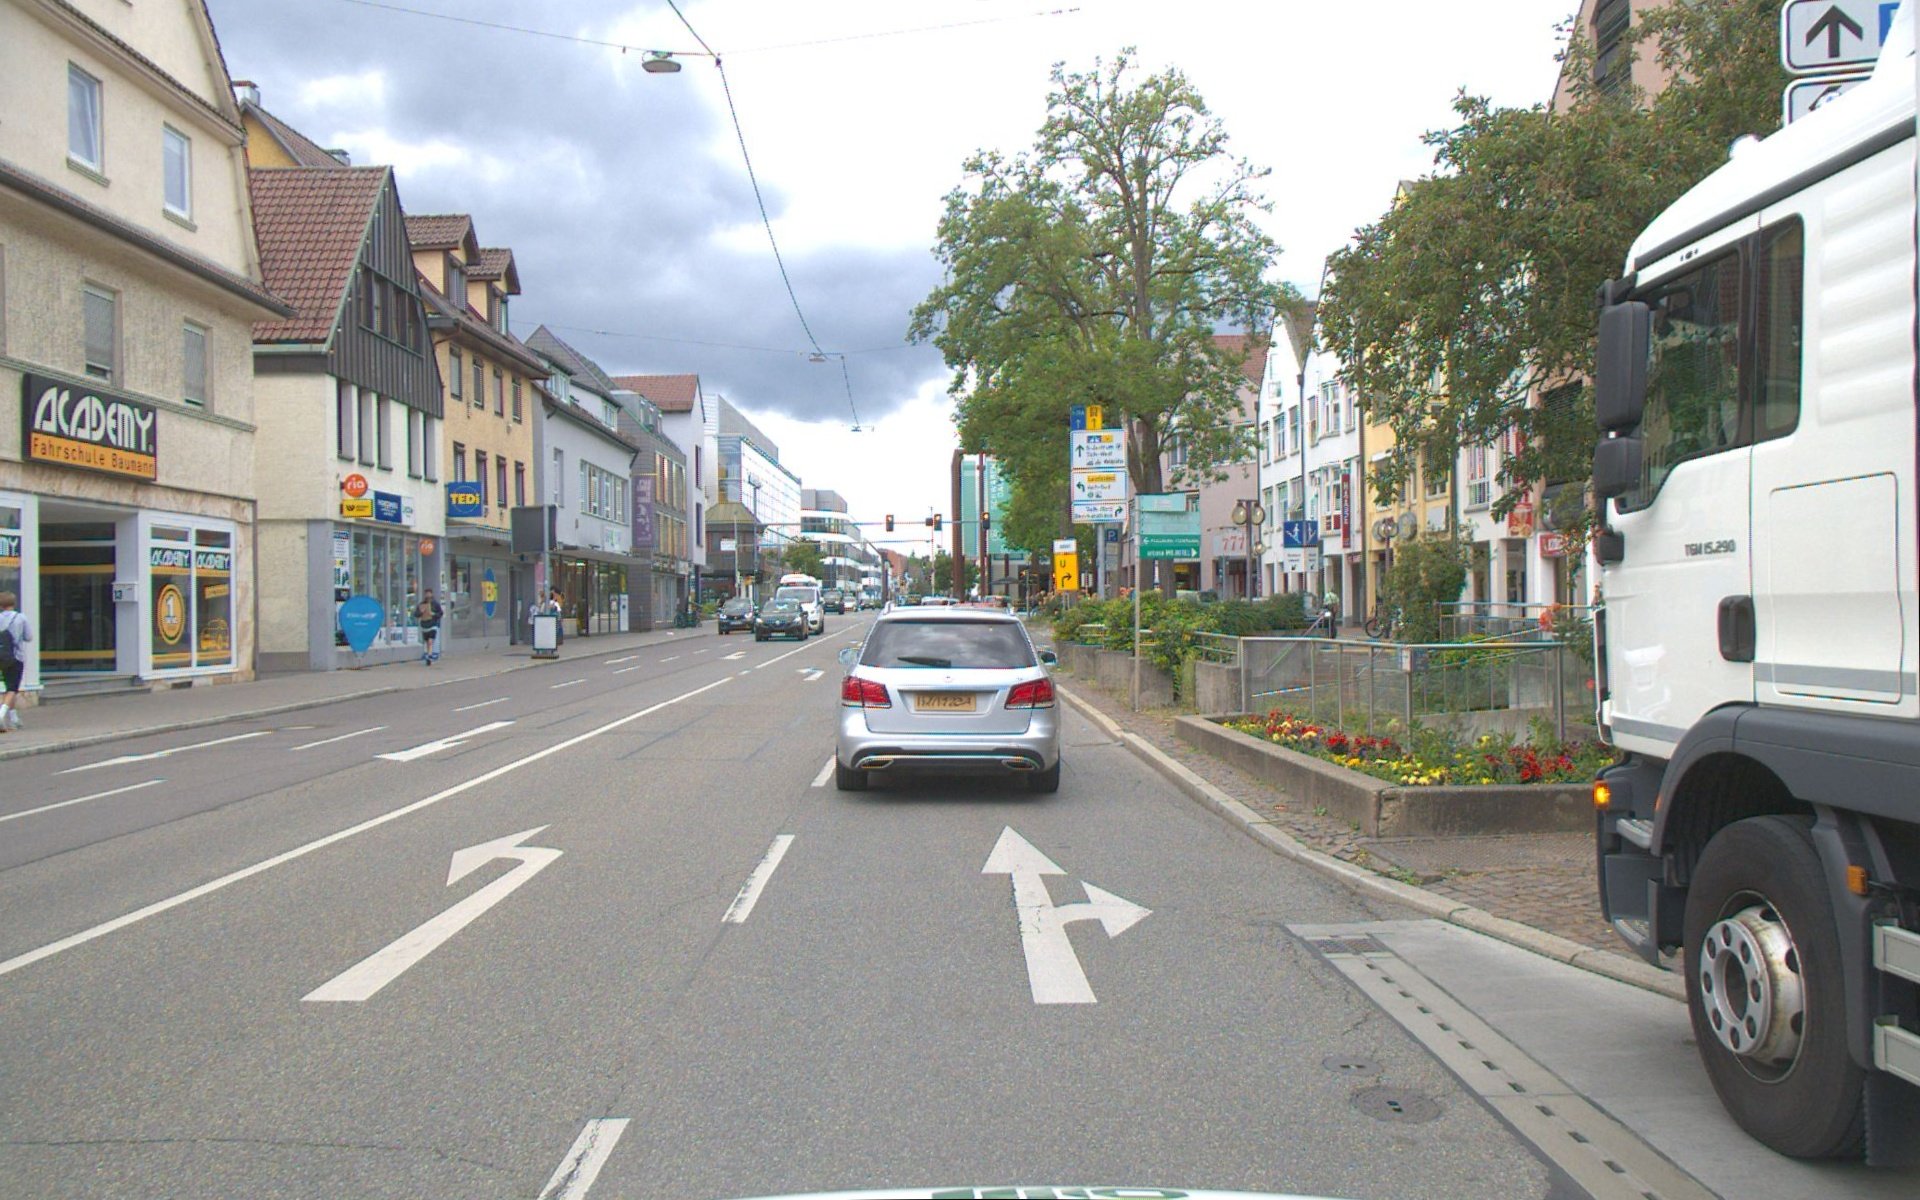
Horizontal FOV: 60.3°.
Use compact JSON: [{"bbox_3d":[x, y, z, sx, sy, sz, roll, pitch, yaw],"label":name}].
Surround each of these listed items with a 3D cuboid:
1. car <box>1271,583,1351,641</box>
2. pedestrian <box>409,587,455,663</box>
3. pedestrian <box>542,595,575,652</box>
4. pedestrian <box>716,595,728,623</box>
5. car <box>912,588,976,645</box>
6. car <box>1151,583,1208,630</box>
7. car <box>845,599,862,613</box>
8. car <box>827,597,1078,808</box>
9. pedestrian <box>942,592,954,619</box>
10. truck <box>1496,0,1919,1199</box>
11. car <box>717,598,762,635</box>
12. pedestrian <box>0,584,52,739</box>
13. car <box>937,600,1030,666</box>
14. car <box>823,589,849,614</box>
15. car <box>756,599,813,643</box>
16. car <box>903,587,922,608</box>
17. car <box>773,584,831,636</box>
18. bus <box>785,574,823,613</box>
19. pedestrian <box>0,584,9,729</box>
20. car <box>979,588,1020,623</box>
[{"bbox_3d":[12.085,0.393,57.164,1.828,1.897,3.999,-1,0,-1],"label":"car"},{"bbox_3d":[-12.624,0.589,39.566,0.850,1.777,0.805,2,0,-6],"label":"pedestrian"},{"bbox_3d":[-11.871,0.698,48.970,0.801,1.663,0.979,1,0,-6],"label":"pedestrian"},{"bbox_3d":[-14.478,0.552,100.587,0.574,1.663,0.614,2,0,-3],"label":"pedestrian"},{"bbox_3d":[-0.518,0.503,53.181,1.953,1.713,3.999,-1,0,-1],"label":"car"},{"bbox_3d":[9.273,0.255,70.136,1.828,1.897,3.999,-1,0,-1],"label":"car"},{"bbox_3d":[-10.569,0.579,164.252,1.543,1.266,3.606,-1,0,-1],"label":"car"},{"bbox_3d":[-0.149,0.753,14.228,1.837,1.532,3.998,-1,0,-3],"label":"car"},{"bbox_3d":[-0.720,0.324,101.622,0.602,1.663,0.586,2,0,-10],"label":"pedestrian"},{"bbox_3d":[3.424,-0.449,1.245,2.634,3.623,9.764,-1,0,-1],"label":"truck"},{"bbox_3d":[-9.933,0.712,74.627,1.584,1.550,3.507,-2,0,-1],"label":"car"},{"bbox_3d":[-11.599,0.739,20.176,0.620,1.855,0.680,-2,0,-1],"label":"pedestrian"},{"bbox_3d":[0.638,0.795,41.914,1.717,1.547,4.004,-1,0,10],"label":"car"},{"bbox_3d":[-10.516,0.085,140.645,1.953,2.049,4.000,-1,0,-1],"label":"car"},{"bbox_3d":[-6.245,0.716,59.220,1.584,1.453,3.922,-2,0,0],"label":"car"},{"bbox_3d":[-4.830,-0.280,168.521,1.953,2.049,3.999,-1,0,-1],"label":"car"},{"bbox_3d":[-6.556,0.395,69.086,1.922,1.995,5.139,-3,0,-1],"label":"car"},{"bbox_3d":[-13.354,-0.596,142.005,2.719,3.220,5.932,-1,0,-1],"label":"bus"},{"bbox_3d":[-12.270,0.714,20.367,0.673,1.792,0.680,-2,0,-1],"label":"pedestrian"},{"bbox_3d":[2.029,0.271,86.034,1.953,1.713,3.999,-1,0,-1],"label":"car"}]
